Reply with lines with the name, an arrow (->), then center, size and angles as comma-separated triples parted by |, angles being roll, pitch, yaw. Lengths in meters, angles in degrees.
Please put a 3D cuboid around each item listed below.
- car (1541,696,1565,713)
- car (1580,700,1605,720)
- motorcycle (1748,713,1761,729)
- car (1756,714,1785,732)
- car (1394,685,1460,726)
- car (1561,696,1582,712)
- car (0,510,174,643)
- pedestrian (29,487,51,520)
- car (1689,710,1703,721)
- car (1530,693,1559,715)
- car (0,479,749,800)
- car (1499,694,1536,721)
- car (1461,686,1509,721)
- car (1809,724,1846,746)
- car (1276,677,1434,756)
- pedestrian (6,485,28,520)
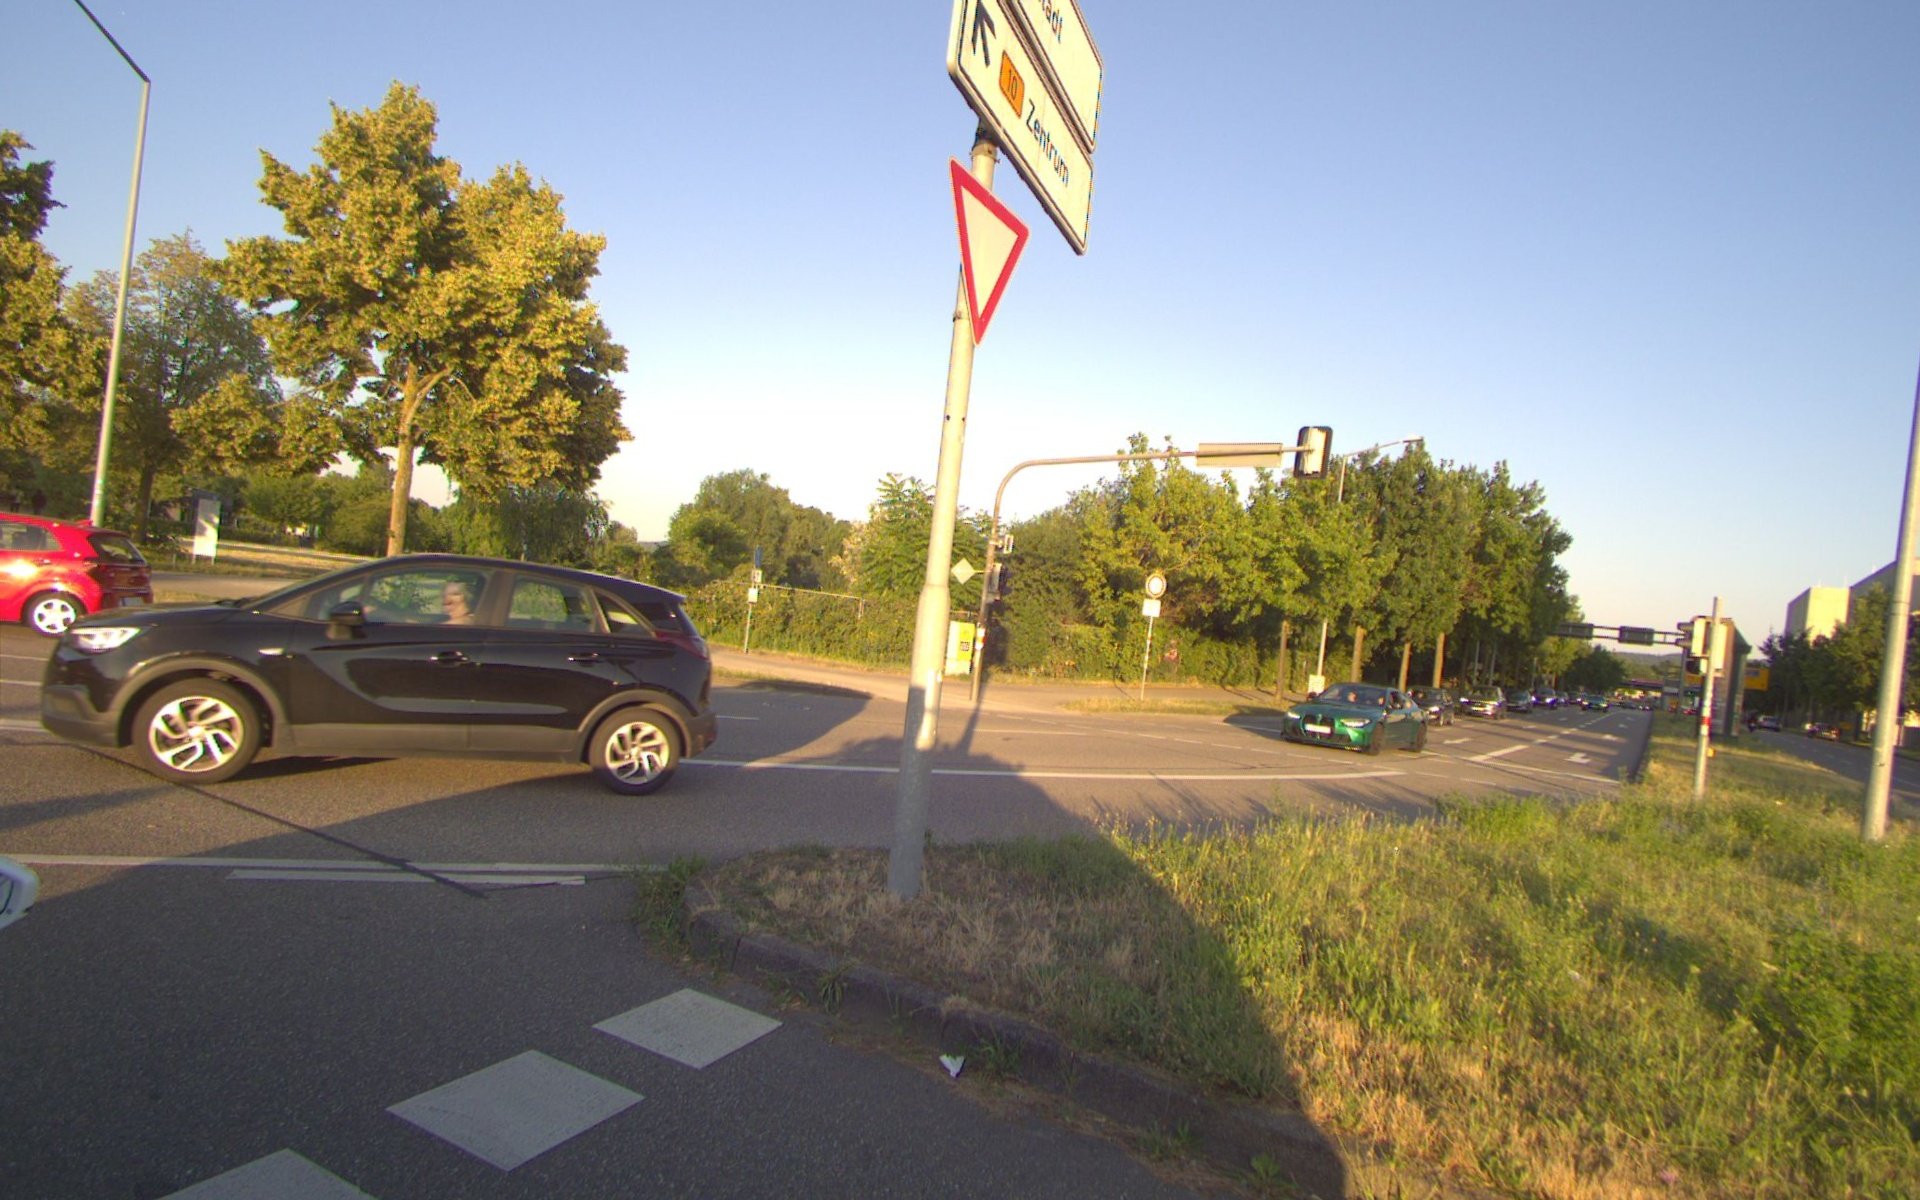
car -> 56.753, 10.016, 96.305 | 1.594, 1.471, 3.707 | 5, -2, 35
car -> 55.931, 9.734, 88.967 | 1.594, 1.471, 3.707 | 5, -2, 35
motorcycle -> 63.566, 9.671, 80.497 | 0.549, 1.114, 2.155 | 7, -1, 34
car -> 80.800, 12.237, 100.321 | 1.774, 1.440, 4.437 | 7, 0, 34
car -> 18.138, 4.088, 38.995 | 1.594, 1.324, 3.707 | 5, -2, 35
car -> 65.862, 11.207, 108.251 | 1.594, 1.471, 3.707 | 5, -2, 35
car -> -12.589, -0.423, 12.797 | 3.582, 1.500, 1.720 | 7, -2, -20
pedestrian -> -47.613, -4.991, 52.075 | 0.523, 1.646, 0.617 | 7, 0, -23
car -> 138.664, 21.744, 189.459 | 1.789, 1.543, 4.124 | 7, 0, 34
car -> 46.801, 8.348, 80.543 | 1.594, 1.536, 3.707 | 5, -2, 35
car -> -3.815, 0.394, 7.141 | 4.092, 1.632, 1.710 | 8, -2, -30
car -> 36.333, 7.017, 65.535 | 1.594, 1.536, 3.707 | 5, -2, 35
car -> 26.962, 5.338, 51.641 | 1.594, 1.536, 3.707 | 5, -2, 35
car -> 75.969, 11.845, 88.133 | 1.774, 1.482, 3.989 | 7, 0, 34
car -> 8.618, 2.510, 21.742 | 1.850, 1.324, 4.121 | 5, -2, 41
pedestrian -> -48.178, -4.984, 51.408 | 0.525, 1.646, 0.578 | 7, 0, -21
